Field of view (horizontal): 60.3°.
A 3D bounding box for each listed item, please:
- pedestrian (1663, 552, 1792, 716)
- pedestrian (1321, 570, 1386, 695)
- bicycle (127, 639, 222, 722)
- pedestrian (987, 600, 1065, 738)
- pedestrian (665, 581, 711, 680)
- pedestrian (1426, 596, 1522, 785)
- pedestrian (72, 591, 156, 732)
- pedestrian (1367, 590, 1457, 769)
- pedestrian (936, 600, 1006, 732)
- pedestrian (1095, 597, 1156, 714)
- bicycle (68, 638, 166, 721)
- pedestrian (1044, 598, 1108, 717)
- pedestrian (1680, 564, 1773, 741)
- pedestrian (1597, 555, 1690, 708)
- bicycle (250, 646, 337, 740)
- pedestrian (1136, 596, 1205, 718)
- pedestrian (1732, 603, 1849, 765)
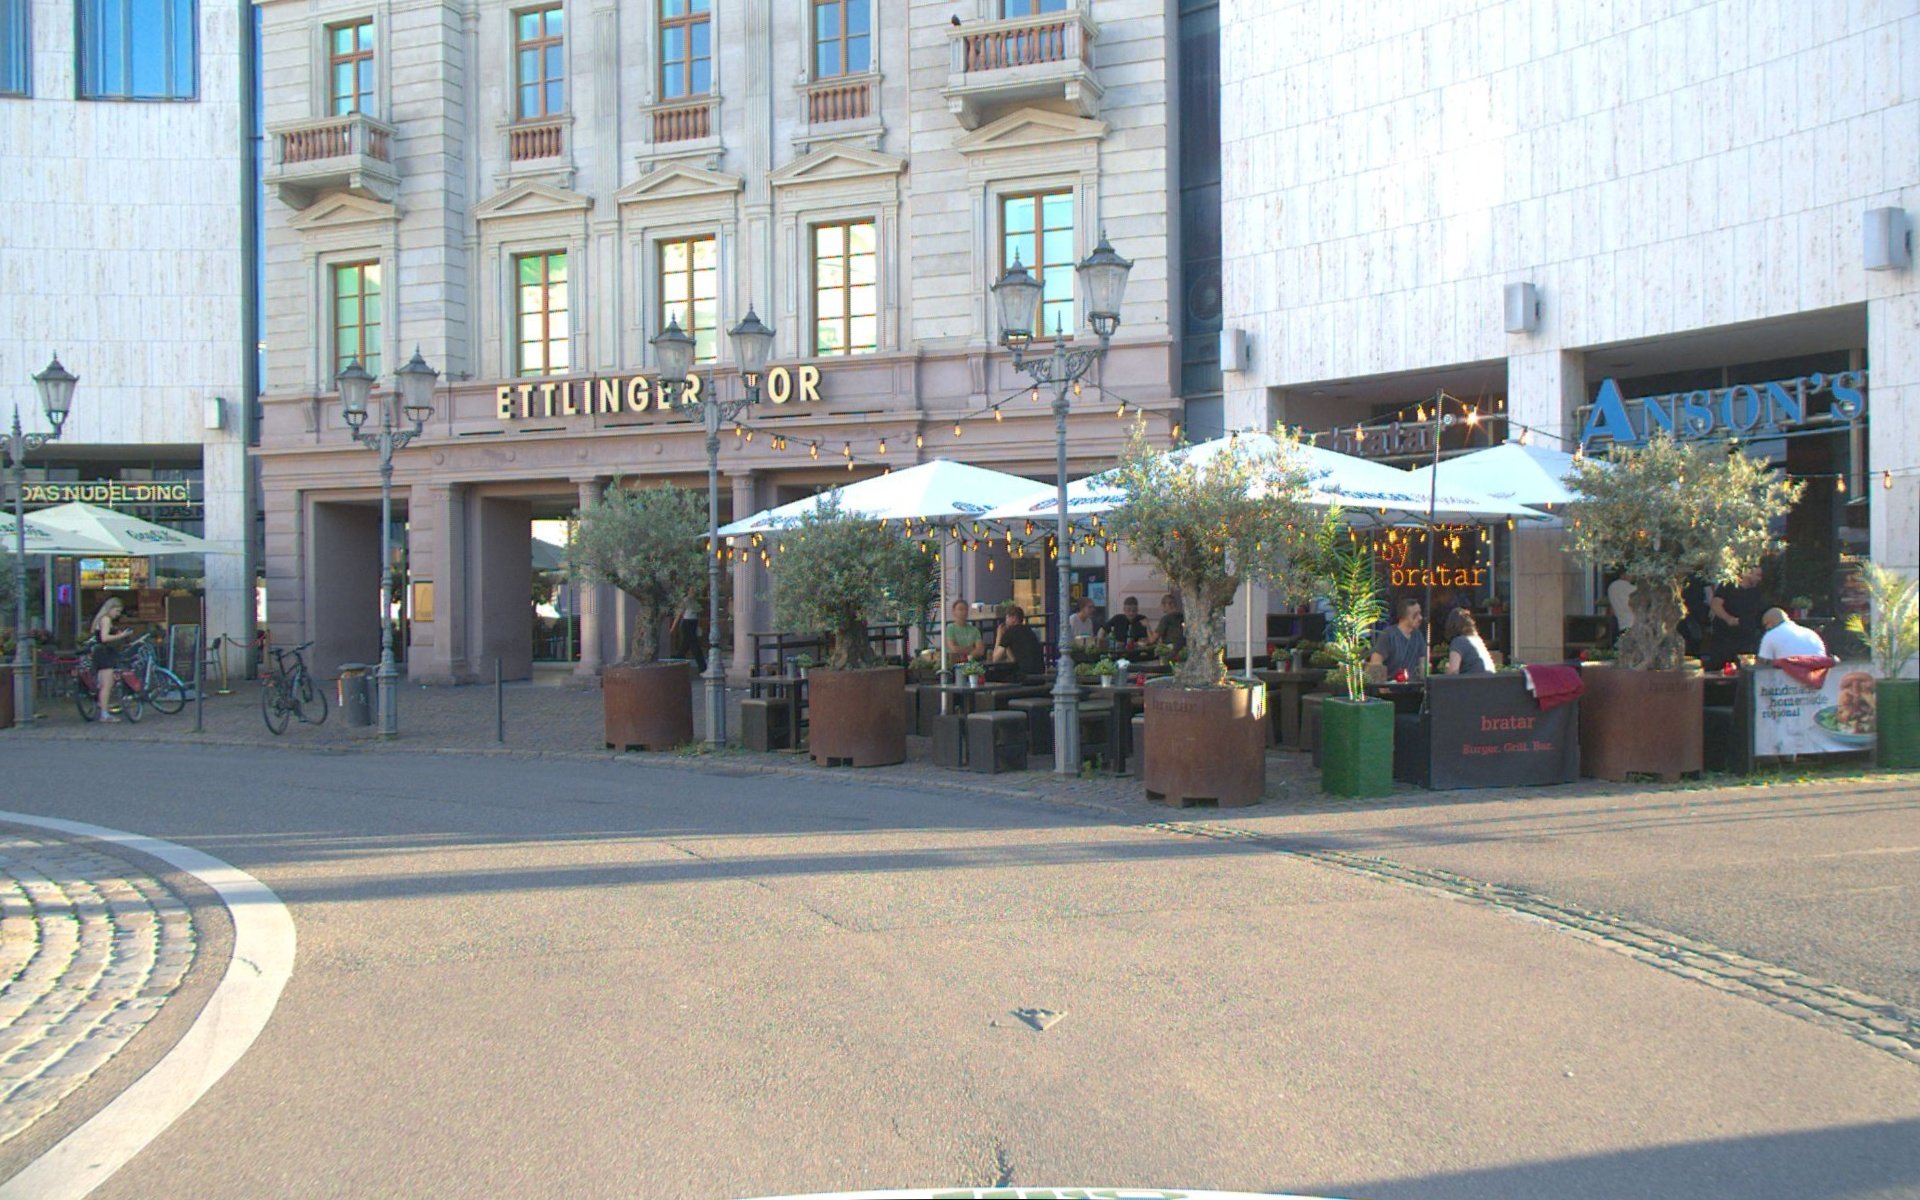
[{"bbox_3d":[8.117,0.342,17.499,0.917,1.676,0.860,-1,0,-27],"label":"pedestrian"},{"bbox_3d":[5.684,0.453,23.899,0.613,1.751,0.682,-1,2,-44],"label":"pedestrian"},{"bbox_3d":[-10.819,1.094,22.836,0.607,1.049,1.644,-1,0,-4],"label":"bicycle"},{"bbox_3d":[0.740,0.758,18.592,0.583,1.504,0.675,-1,0,-36],"label":"pedestrian"},{"bbox_3d":[-4.906,0.546,29.830,0.610,1.759,0.545,-1,0,26],"label":"pedestrian"},{"bbox_3d":[4.227,0.723,13.616,0.520,1.504,0.559,-1,0,-19],"label":"pedestrian"},{"bbox_3d":[-10.901,0.765,21.312,0.895,1.759,0.841,-1,0,-31],"label":"pedestrian"},{"bbox_3d":[3.925,0.672,14.386,0.520,1.504,0.559,-1,0,-21],"label":"pedestrian"},{"bbox_3d":[0.125,0.759,19.349,0.540,1.504,0.616,-1,0,-38],"label":"pedestrian"},{"bbox_3d":[2.185,0.715,21.831,0.537,1.504,0.618,-1,0,-28],"label":"pedestrian"},{"bbox_3d":[-11.568,1.068,22.746,0.587,1.049,1.644,-1,0,-4],"label":"bicycle"},{"bbox_3d":[1.494,0.729,21.359,0.583,1.504,0.618,-1,0,-28],"label":"pedestrian"},{"bbox_3d":[8.082,0.535,17.452,0.546,1.824,0.715,-1,0,-37],"label":"pedestrian"},{"bbox_3d":[7.685,0.344,18.612,0.685,1.676,0.686,-1,0,-28],"label":"pedestrian"},{"bbox_3d":[-8.234,1.128,20.498,0.496,1.049,1.644,-1,0,-4],"label":"bicycle"},{"bbox_3d":[2.667,0.711,20.952,0.613,1.504,0.621,0,0,40],"label":"pedestrian"},{"bbox_3d":[7.117,0.702,14.183,0.539,1.333,0.720,-1,0,-20],"label":"pedestrian"}]
